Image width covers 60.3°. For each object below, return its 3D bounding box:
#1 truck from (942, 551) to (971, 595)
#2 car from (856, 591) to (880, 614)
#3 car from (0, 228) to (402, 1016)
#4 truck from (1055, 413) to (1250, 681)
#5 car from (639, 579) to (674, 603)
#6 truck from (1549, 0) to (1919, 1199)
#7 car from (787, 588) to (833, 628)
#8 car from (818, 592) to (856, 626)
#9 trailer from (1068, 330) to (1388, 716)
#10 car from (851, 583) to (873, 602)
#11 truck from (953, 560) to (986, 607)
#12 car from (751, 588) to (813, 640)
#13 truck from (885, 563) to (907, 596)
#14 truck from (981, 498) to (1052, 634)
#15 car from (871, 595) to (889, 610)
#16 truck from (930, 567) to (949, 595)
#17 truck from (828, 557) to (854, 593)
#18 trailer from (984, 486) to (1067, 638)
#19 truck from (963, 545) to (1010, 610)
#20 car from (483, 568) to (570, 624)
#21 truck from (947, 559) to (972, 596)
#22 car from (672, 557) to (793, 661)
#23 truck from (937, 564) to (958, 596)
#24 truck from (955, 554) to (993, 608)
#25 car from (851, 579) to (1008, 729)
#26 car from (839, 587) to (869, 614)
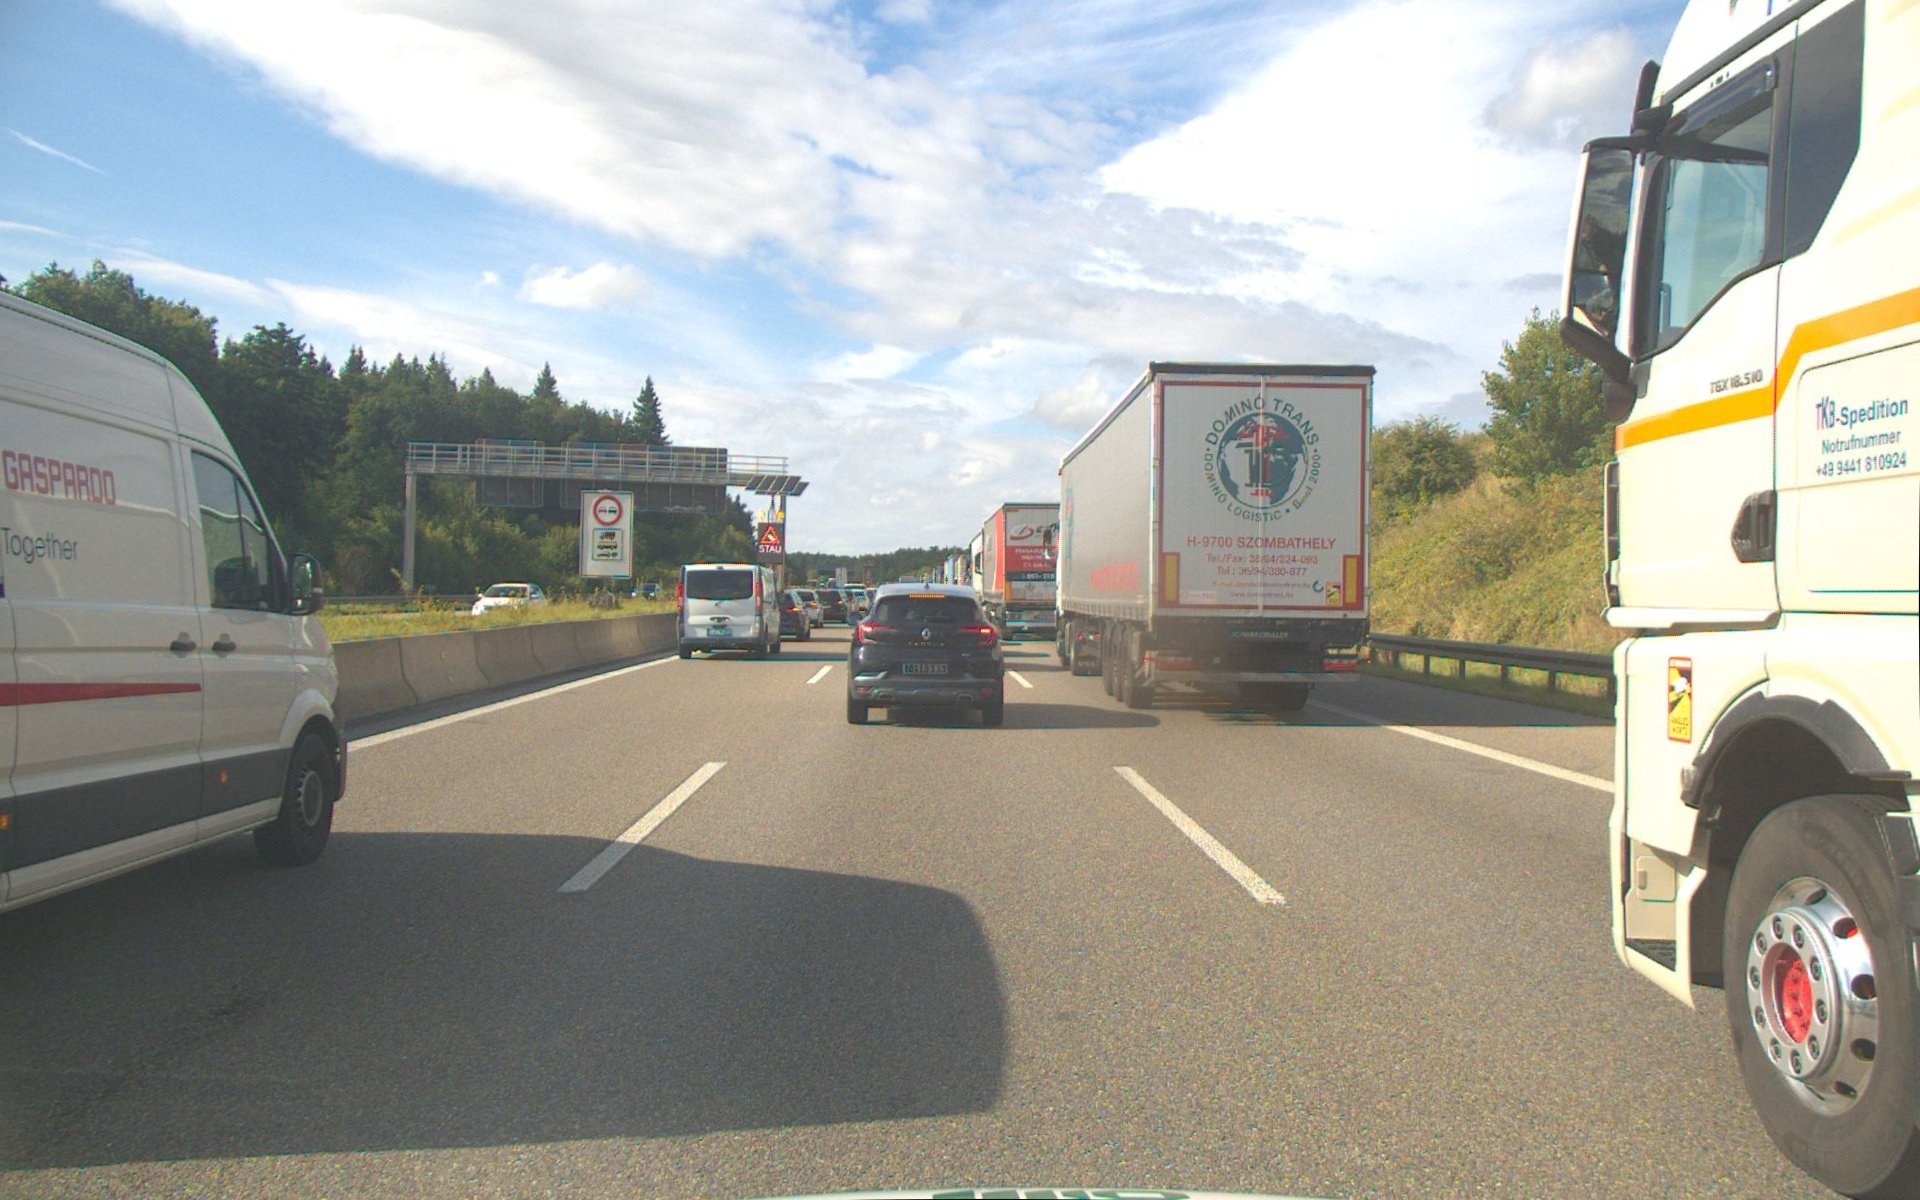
[{"bbox_3d":[-0.299,-2.005,124.285,1.953,3.105,4.980,4,0,-1],"label":"truck"},{"bbox_3d":[-5.712,0.137,102.543,1.333,1.323,3.083,4,0,-2],"label":"car"},{"bbox_3d":[-4.253,0.072,6.833,1.974,2.644,6.179,0,0,-2],"label":"car"},{"bbox_3d":[3.303,-0.861,29.971,2.729,4.321,6.458,0,0,0],"label":"truck"},{"bbox_3d":[-23.494,-0.704,128.150,1.850,1.713,3.999,4,0,-1],"label":"car"},{"bbox_3d":[3.487,-0.417,2.743,2.482,3.646,6.727,1,0,-1],"label":"truck"},{"bbox_3d":[-5.784,0.291,64.035,1.470,1.420,3.475,4,0,-1],"label":"car"},{"bbox_3d":[-5.393,0.387,72.666,1.406,1.333,3.532,4,0,-2],"label":"car"},{"bbox_3d":[3.359,-0.861,24.026,2.745,4.318,11.055,0,0,-1],"label":"trailer"},{"bbox_3d":[-6.644,-0.525,112.312,1.333,1.260,3.083,1,0,-2],"label":"car"},{"bbox_3d":[0.595,-1.114,111.488,1.953,2.982,4.980,4,0,-1],"label":"truck"},{"bbox_3d":[-5.137,0.396,48.069,1.469,1.420,3.475,1,0,-1],"label":"car"},{"bbox_3d":[-7.458,-2.334,194.086,2.297,3.656,6.304,4,0,-1],"label":"truck"},{"bbox_3d":[1.864,-1.100,56.701,2.090,4.356,6.337,1,0,-1],"label":"truck"},{"bbox_3d":[-6.418,0.228,132.773,1.333,1.179,3.083,1,0,-2],"label":"car"},{"bbox_3d":[-2.440,-2.233,196.461,1.953,3.105,4.980,4,0,-1],"label":"truck"},{"bbox_3d":[-12.893,-2.713,180.062,2.297,3.656,6.304,4,0,-1],"label":"truck"},{"bbox_3d":[1.937,-1.104,51.763,2.106,4.333,8.438,1,0,-1],"label":"trailer"},{"bbox_3d":[1.265,-1.087,81.416,1.953,2.982,4.980,4,0,-1],"label":"truck"},{"bbox_3d":[-14.721,-0.144,56.342,1.850,1.713,3.999,4,0,-1],"label":"car"},{"bbox_3d":[-0.074,-1.976,147.208,1.953,3.105,4.980,4,0,-1],"label":"truck"},{"bbox_3d":[-4.956,0.188,36.751,1.894,2.013,5.098,4,0,-1],"label":"car"},{"bbox_3d":[-1.306,-2.046,170.990,1.953,3.105,4.980,4,0,-1],"label":"truck"},{"bbox_3d":[0.799,-1.109,97.555,1.953,2.982,4.980,4,0,-1],"label":"truck"},{"bbox_3d":[-0.306,0.556,19.856,1.662,1.508,4.161,1,2,1],"label":"car"},{"bbox_3d":[-5.578,0.035,87.508,1.406,1.333,3.532,4,0,-2],"label":"car"}]
